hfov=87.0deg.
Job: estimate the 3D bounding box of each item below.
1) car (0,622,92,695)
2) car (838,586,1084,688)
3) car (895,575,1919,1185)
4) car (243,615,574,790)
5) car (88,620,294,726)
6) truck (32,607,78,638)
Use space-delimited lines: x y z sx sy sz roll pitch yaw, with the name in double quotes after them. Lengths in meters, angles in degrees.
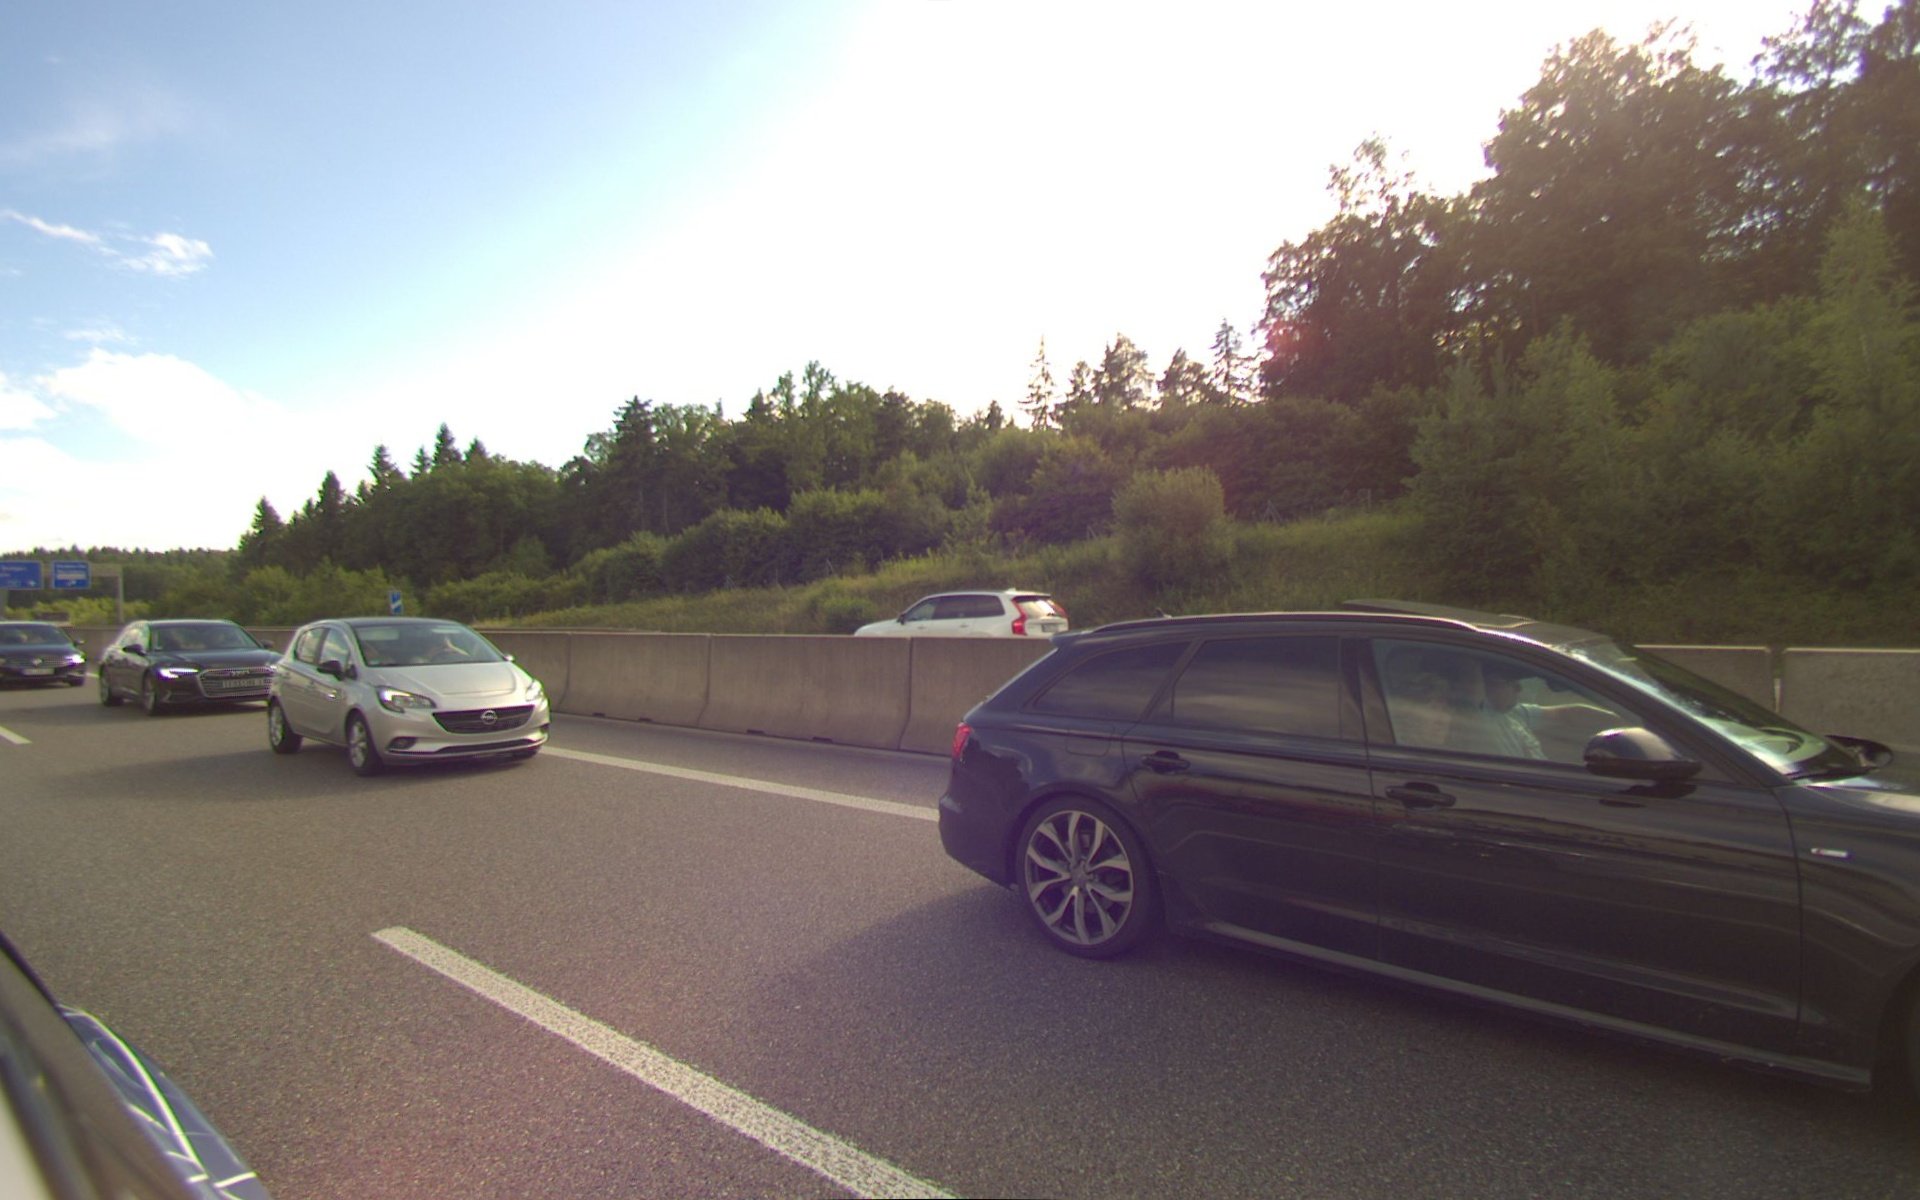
-21.175 1.265 22.865 4.568 1.489 1.890 -1 -1 43 "car"
-0.091 0.705 20.371 4.921 1.823 1.833 -1 -1 41 "car"
2.083 0.688 3.842 4.745 1.467 1.824 -1 -1 41 "car"
-5.850 0.920 10.547 4.038 1.477 1.729 -2 -2 41 "car"
-12.946 1.107 16.913 4.850 1.483 1.862 -1 -1 42 "car"
-86.504 2.128 96.690 6.426 2.876 2.398 -1 -1 41 "truck"
